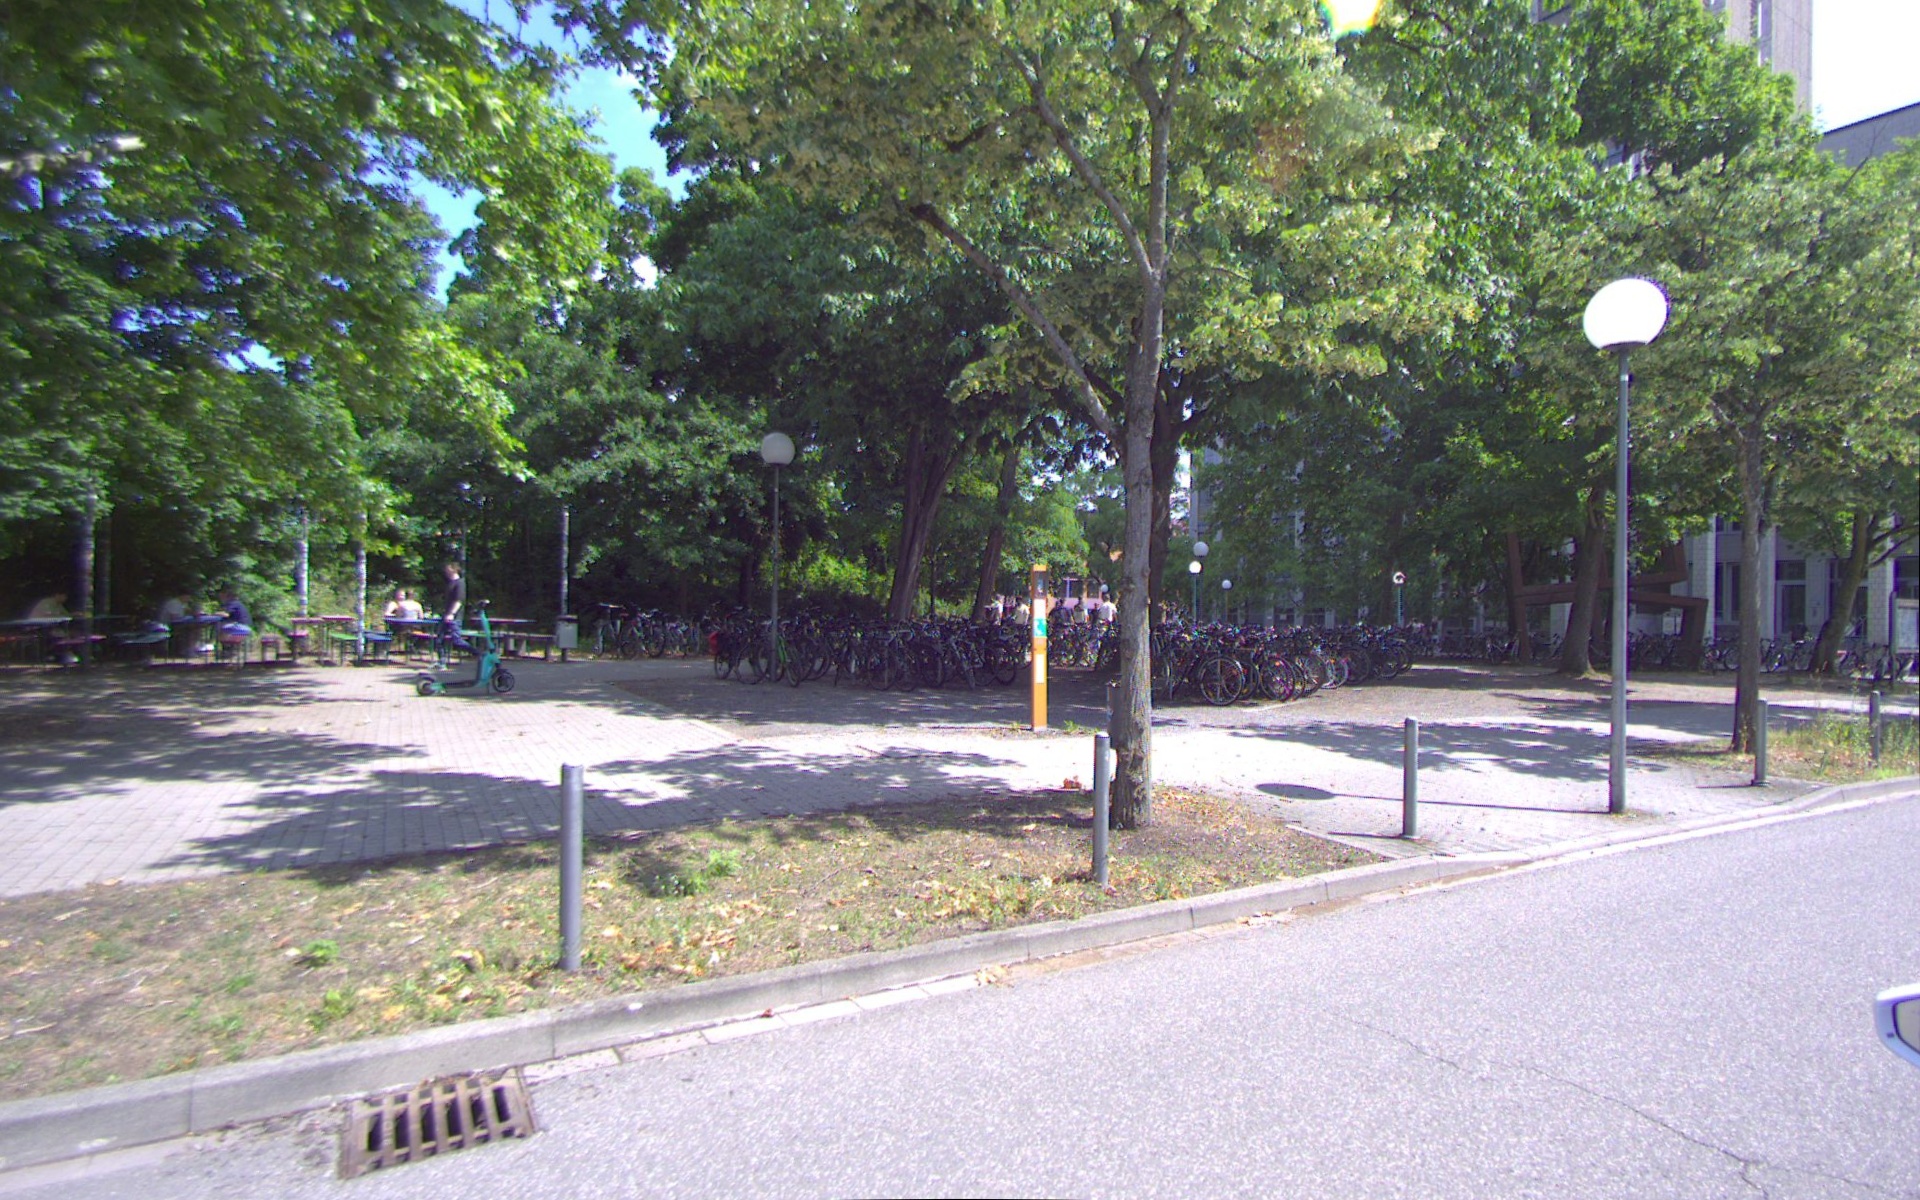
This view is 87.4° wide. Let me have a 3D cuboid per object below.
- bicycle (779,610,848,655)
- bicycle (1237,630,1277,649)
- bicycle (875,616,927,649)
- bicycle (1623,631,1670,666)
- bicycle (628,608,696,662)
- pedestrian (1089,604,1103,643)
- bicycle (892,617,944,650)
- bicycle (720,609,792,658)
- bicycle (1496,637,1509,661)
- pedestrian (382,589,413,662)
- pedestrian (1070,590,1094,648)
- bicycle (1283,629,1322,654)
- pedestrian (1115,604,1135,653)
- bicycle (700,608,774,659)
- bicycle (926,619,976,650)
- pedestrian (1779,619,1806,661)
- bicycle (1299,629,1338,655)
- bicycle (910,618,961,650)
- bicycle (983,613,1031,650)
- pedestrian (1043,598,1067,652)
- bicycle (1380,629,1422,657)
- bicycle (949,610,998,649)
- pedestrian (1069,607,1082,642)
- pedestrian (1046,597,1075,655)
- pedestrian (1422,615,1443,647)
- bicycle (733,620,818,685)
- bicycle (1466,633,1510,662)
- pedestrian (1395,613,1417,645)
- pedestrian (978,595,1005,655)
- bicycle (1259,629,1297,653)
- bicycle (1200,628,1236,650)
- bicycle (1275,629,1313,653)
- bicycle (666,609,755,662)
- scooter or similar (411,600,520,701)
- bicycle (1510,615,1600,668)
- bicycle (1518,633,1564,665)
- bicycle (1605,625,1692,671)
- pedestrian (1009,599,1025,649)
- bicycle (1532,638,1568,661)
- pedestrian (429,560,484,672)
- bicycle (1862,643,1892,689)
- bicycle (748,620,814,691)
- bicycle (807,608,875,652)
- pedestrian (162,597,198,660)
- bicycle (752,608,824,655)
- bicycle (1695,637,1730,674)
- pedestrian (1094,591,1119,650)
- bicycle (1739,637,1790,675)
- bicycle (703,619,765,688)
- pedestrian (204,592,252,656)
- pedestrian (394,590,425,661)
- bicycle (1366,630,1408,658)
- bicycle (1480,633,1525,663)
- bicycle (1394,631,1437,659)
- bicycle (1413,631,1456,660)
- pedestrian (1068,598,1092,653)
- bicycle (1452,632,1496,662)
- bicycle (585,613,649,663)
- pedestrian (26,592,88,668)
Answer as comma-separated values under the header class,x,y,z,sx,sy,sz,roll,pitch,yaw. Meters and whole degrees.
class,x,y,z,sx,sy,sz,roll,pitch,yaw
bicycle,-3.843,0.837,26.248,1.927,1.105,0.595,2,-1,38
bicycle,14.449,1.919,48.841,2.258,0.887,0.417,2,0,-31
bicycle,-1.761,0.951,29.794,1.741,0.906,0.417,1,0,40
bicycle,21.554,1.518,31.535,1.828,1.046,0.473,2,-1,-30
bicycle,-6.578,0.757,22.109,0.593,1.105,1.933,3,-1,-43
pedestrian,6.145,1.062,45.333,0.405,1.736,0.544,2,0,29
bicycle,-1.288,1.012,30.650,1.741,0.906,0.417,1,0,40
bicycle,-5.018,0.816,24.614,1.927,1.105,0.595,2,-1,38
bicycle,19.045,1.720,35.242,0.317,0.773,1.559,1,0,26
pedestrian,-12.094,0.534,21.603,0.470,1.543,0.501,1,0,-41
pedestrian,4.173,0.634,34.394,0.610,1.960,0.681,1,0,25
bicycle,15.813,1.911,46.330,1.950,1.101,0.549,2,1,-31
pedestrian,6.891,1.180,41.975,0.583,2.040,0.532,1,0,-16
bicycle,-5.313,0.789,23.836,1.927,1.105,0.595,2,-1,38
bicycle,-0.292,1.100,32.167,1.741,0.906,0.417,1,0,40
pedestrian,34.029,1.639,41.064,0.623,1.683,0.694,1,0,23
bicycle,16.396,1.922,45.938,1.950,1.101,0.549,2,1,-31
bicycle,-0.781,1.054,31.522,1.741,0.906,0.417,1,0,40
bicycle,1.606,1.074,34.650,1.772,1.223,0.421,2,0,44
pedestrian,3.057,0.792,32.342,0.545,1.693,0.703,1,0,25
bicycle,18.217,1.774,41.472,1.950,1.101,0.549,2,1,-31
bicycle,0.434,0.957,33.121,1.772,1.223,0.421,2,0,44
pedestrian,5.231,1.115,45.443,0.402,1.547,0.486,2,0,29
pedestrian,3.002,0.757,30.038,0.620,1.693,0.730,1,0,25
pedestrian,23.459,1.532,49.914,0.714,1.561,0.696,1,0,-40
bicycle,-3.201,0.877,17.325,0.533,1.016,1.944,1,0,-40
bicycle,20.450,1.832,38.883,1.950,1.101,0.549,2,1,-31
pedestrian,22.460,1.464,50.557,0.590,1.614,0.824,1,-1,-28
pedestrian,0.912,0.722,29.012,0.567,1.693,0.630,1,0,25
bicycle,15.106,1.931,47.671,1.950,1.101,0.549,2,1,-31
bicycle,13.274,2.005,51.740,1.950,1.101,0.549,2,1,-31
bicycle,15.698,1.938,47.166,1.950,1.101,0.549,2,1,-31
bicycle,-5.660,0.794,22.770,1.920,1.105,0.597,2,-1,21
scooter or similar,-6.523,0.649,13.259,1.227,1.263,0.695,2,0,-31
bicycle,17.614,1.217,29.795,2.248,1.469,0.606,1,0,27
bicycle,21.377,1.799,36.945,1.950,1.101,0.549,2,1,-31
bicycle,19.656,1.363,28.710,1.984,1.270,0.586,0,-1,28
pedestrian,1.900,0.793,33.664,0.452,1.636,0.351,2,0,9
bicycle,26.295,2.197,44.721,1.971,0.959,0.522,1,-1,-32
pedestrian,-8.585,0.272,17.123,0.796,1.873,0.527,1,0,-30
bicycle,21.666,1.544,23.727,1.802,1.039,0.378,2,-1,-43
bicycle,-2.923,0.872,16.281,0.531,1.028,1.795,1,0,-27
bicycle,-3.209,0.791,27.070,1.927,1.105,0.595,2,-1,38
pedestrian,-14.662,0.531,18.887,0.503,1.155,0.332,1,0,-41
bicycle,-4.348,0.791,25.335,1.927,1.105,0.595,2,-1,38
bicycle,21.003,1.529,28.029,1.644,0.978,0.471,2,-1,-42
pedestrian,4.992,0.677,34.121,0.635,1.960,0.696,1,0,25
bicycle,24.842,1.726,31.000,1.950,1.101,0.549,2,1,-31
bicycle,-3.726,0.850,16.470,0.531,1.028,1.796,1,0,-27
pedestrian,-14.153,0.463,19.423,0.724,1.210,0.388,1,0,-40
pedestrian,-11.431,0.525,20.841,0.456,1.441,0.501,1,0,-40
bicycle,17.903,1.842,42.104,1.950,1.101,0.549,2,1,-31
bicycle,20.657,1.817,38.239,1.950,1.101,0.549,2,1,-31
bicycle,18.566,1.828,40.948,1.950,1.101,0.549,2,1,-31
bicycle,18.998,1.819,40.223,1.950,1.101,0.549,2,1,-31
pedestrian,3.828,0.805,31.994,0.545,1.693,0.693,1,0,25
bicycle,20.217,1.846,39.502,1.950,1.101,0.549,2,1,-31
bicycle,-7.273,0.790,21.229,0.542,0.955,1.860,3,-1,-43
pedestrian,-15.445,0.510,17.195,0.761,1.267,0.563,1,0,-42
